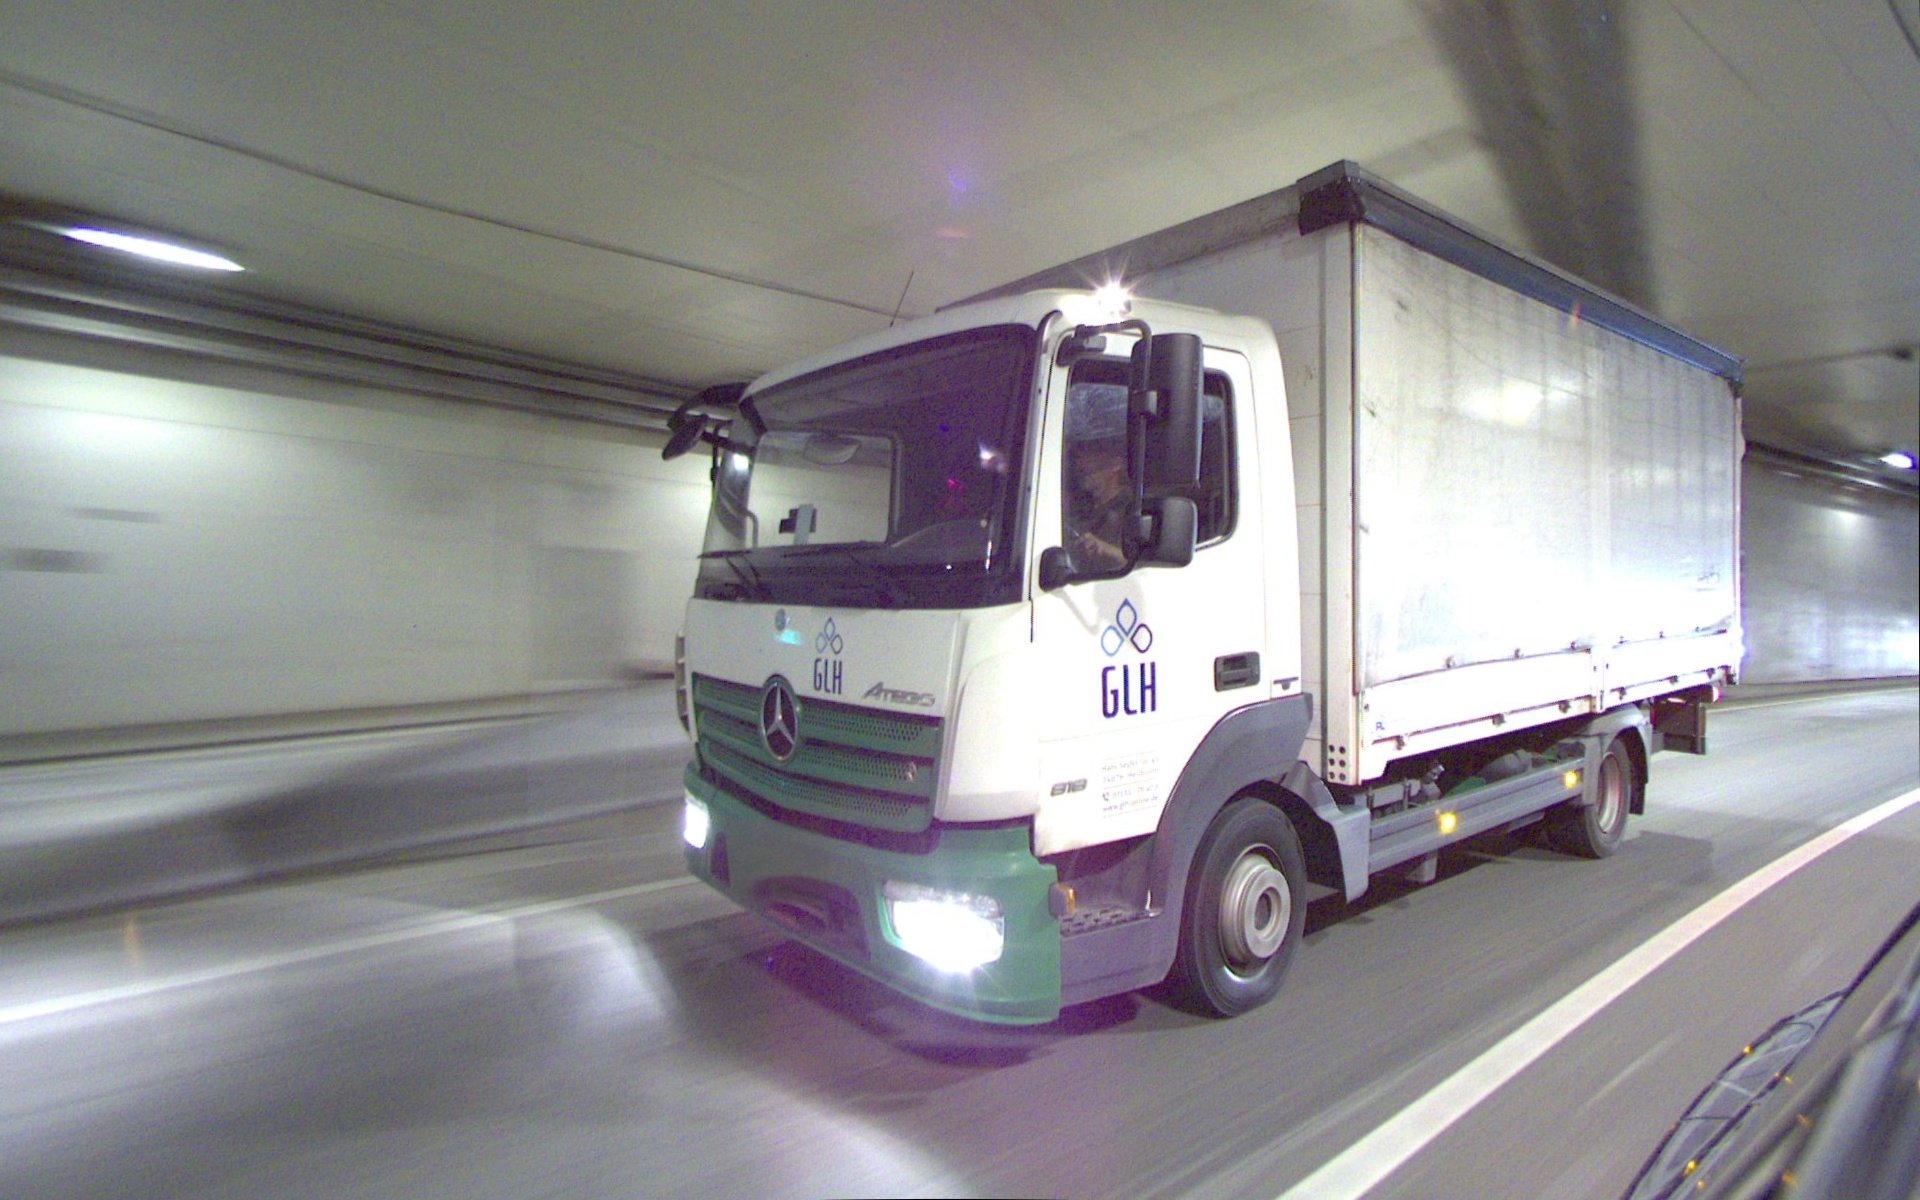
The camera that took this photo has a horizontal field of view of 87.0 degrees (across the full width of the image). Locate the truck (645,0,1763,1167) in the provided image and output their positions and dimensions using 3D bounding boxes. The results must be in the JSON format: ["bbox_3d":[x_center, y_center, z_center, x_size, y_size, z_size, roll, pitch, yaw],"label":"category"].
[{"bbox_3d":[2.113,-0.206,5.862,7.116,3.221,2.559,-1,1,-39],"label":"truck"}]
